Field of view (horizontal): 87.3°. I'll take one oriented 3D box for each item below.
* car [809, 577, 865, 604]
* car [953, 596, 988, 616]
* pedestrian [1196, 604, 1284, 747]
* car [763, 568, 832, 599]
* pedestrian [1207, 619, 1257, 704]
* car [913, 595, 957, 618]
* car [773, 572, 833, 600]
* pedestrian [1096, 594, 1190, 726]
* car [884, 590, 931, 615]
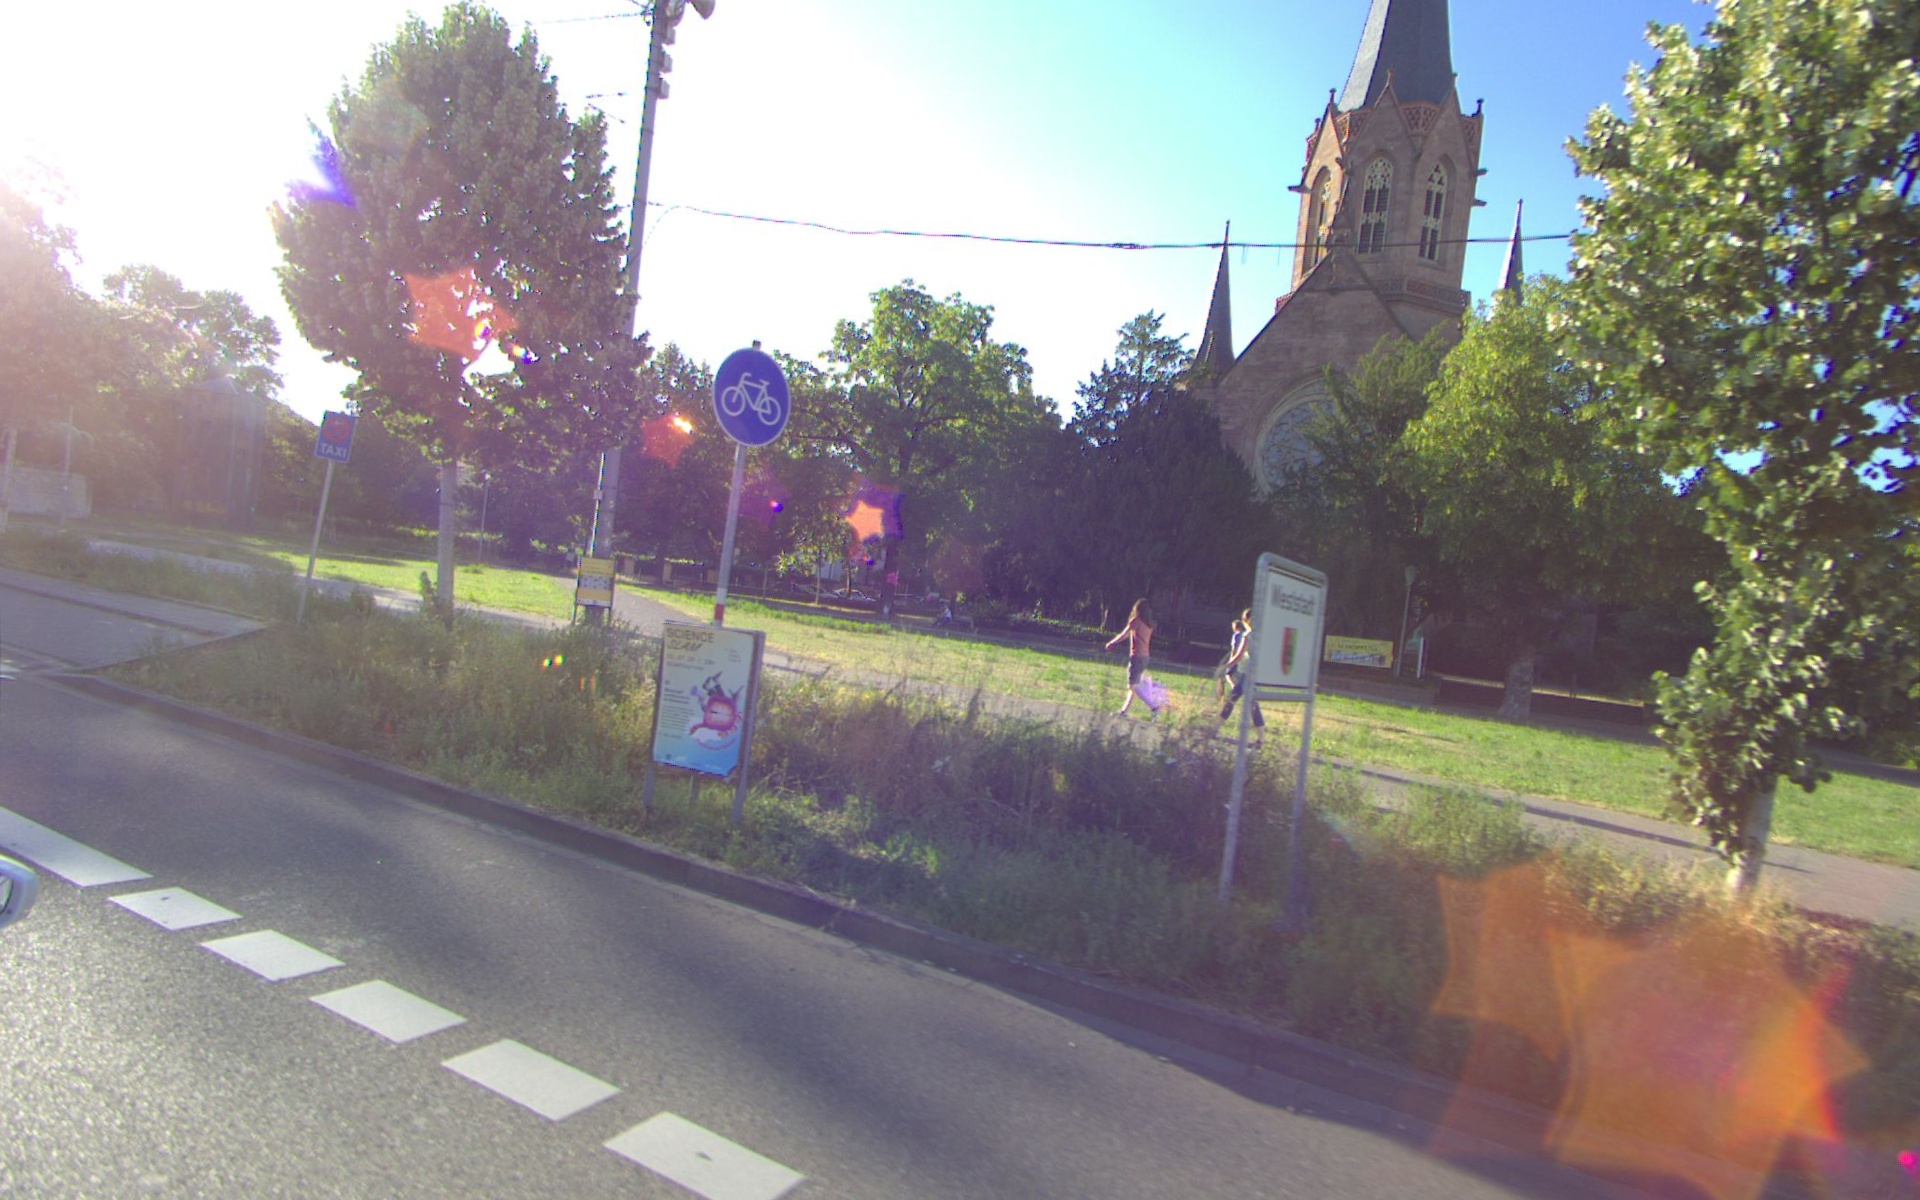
[{"bbox_3d":[-9.947,-0.804,81.350,4.084,1.639,1.869,7,1,26],"label":"car"},{"bbox_3d":[1.015,0.558,95.255,1.538,1.467,3.500,7,0,33],"label":"car"},{"bbox_3d":[3.609,0.957,12.974,0.769,1.712,0.597,8,4,32],"label":"pedestrian"},{"bbox_3d":[-12.011,-1.203,74.311,4.552,1.740,1.999,7,1,21],"label":"car"},{"bbox_3d":[5.950,1.333,22.015,0.588,1.761,0.639,6,1,-24],"label":"pedestrian"},{"bbox_3d":[-2.108,0.548,86.011,1.602,1.528,4.149,8,0,31],"label":"car"},{"bbox_3d":[-12.105,-1.069,77.608,4.084,1.651,1.869,7,1,26],"label":"car"},{"bbox_3d":[2.518,0.804,13.859,0.900,1.673,0.738,8,4,31],"label":"pedestrian"},{"bbox_3d":[-4.148,0.252,80.814,1.571,1.528,4.150,7,-1,31],"label":"car"}]
